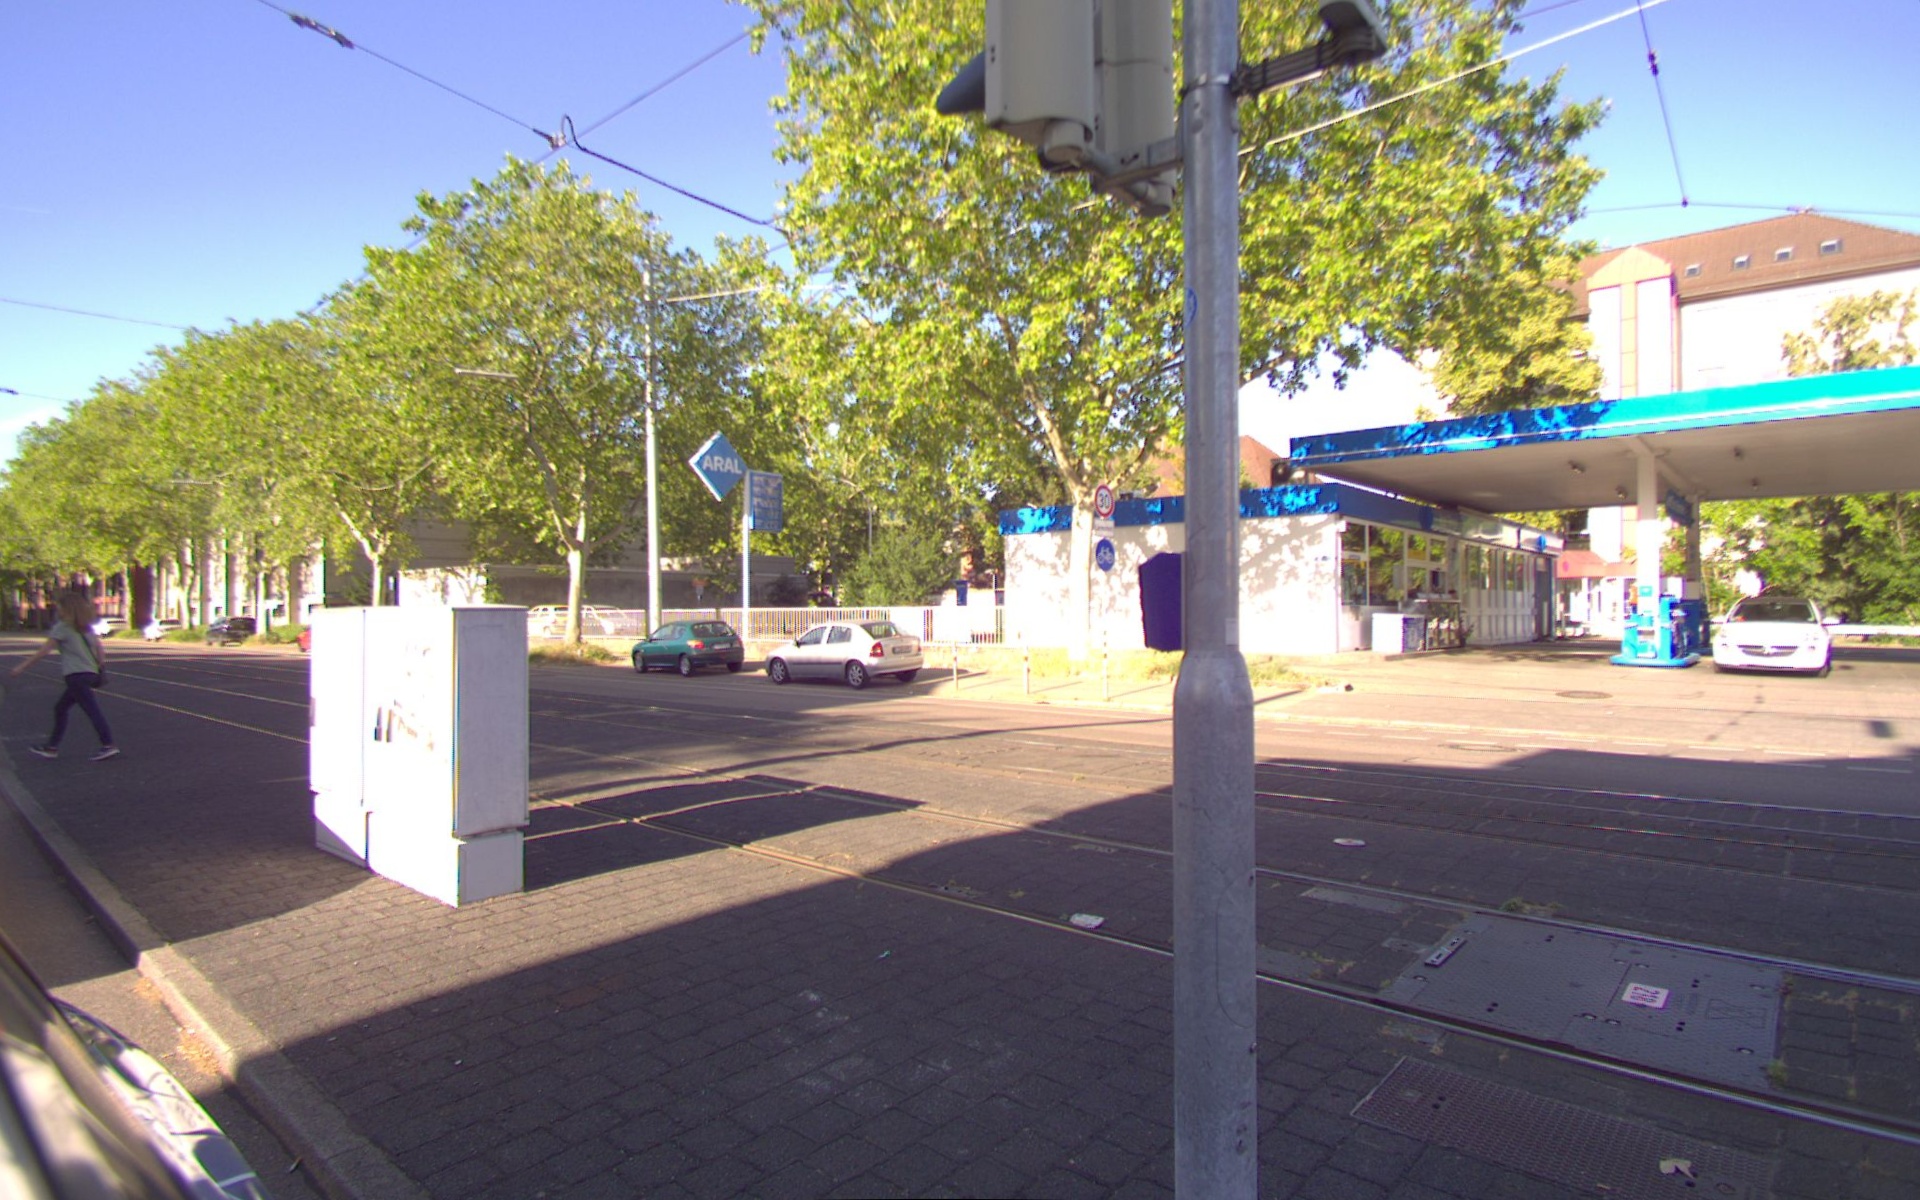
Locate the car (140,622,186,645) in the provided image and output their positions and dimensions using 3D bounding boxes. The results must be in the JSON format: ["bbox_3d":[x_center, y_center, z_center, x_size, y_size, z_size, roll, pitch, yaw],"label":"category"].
[{"bbox_3d":[-53.709,2.261,68.184,3.998,1.509,1.779,-1,-1,41],"label":"car"}]

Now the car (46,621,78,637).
[{"bbox_3d":[-85.308,2.725,96.142,3.998,1.525,1.779,-1,-1,41],"label":"car"}]

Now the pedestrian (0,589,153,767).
[{"bbox_3d":[-8.692,0.736,9.884,1.085,1.674,0.694,-1,0,5],"label":"pedestrian"}]

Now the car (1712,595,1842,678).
[{"bbox_3d":[16.032,0.675,19.918,1.812,1.453,3.947,-1,-1,39],"label":"car"}]

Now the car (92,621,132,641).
[{"bbox_3d":[-66.671,2.396,79.552,3.998,1.525,1.779,-1,-1,41],"label":"car"}]

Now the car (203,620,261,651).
[{"bbox_3d":[-40.744,1.949,56.609,3.998,1.674,1.779,-1,-1,41],"label":"car"}]

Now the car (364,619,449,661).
[{"bbox_3d":[-21.934,1.548,40.067,3.652,1.541,1.802,-1,-1,41],"label":"car"}]

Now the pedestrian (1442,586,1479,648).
[{"bbox_3d":[14.071,0.481,28.447,0.761,1.705,0.578,-2,-2,44],"label":"pedestrian"}]

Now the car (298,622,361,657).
[{"bbox_3d":[-28.547,1.748,45.816,3.045,1.519,1.620,-1,-1,41],"label":"car"}]

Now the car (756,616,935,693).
[{"bbox_3d":[-2.625,1.157,22.675,3.965,1.475,1.771,-1,2,43],"label":"car"}]

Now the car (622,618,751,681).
[{"bbox_3d":[-7.322,1.275,26.945,3.519,1.475,1.670,-1,2,43],"label":"car"}]
